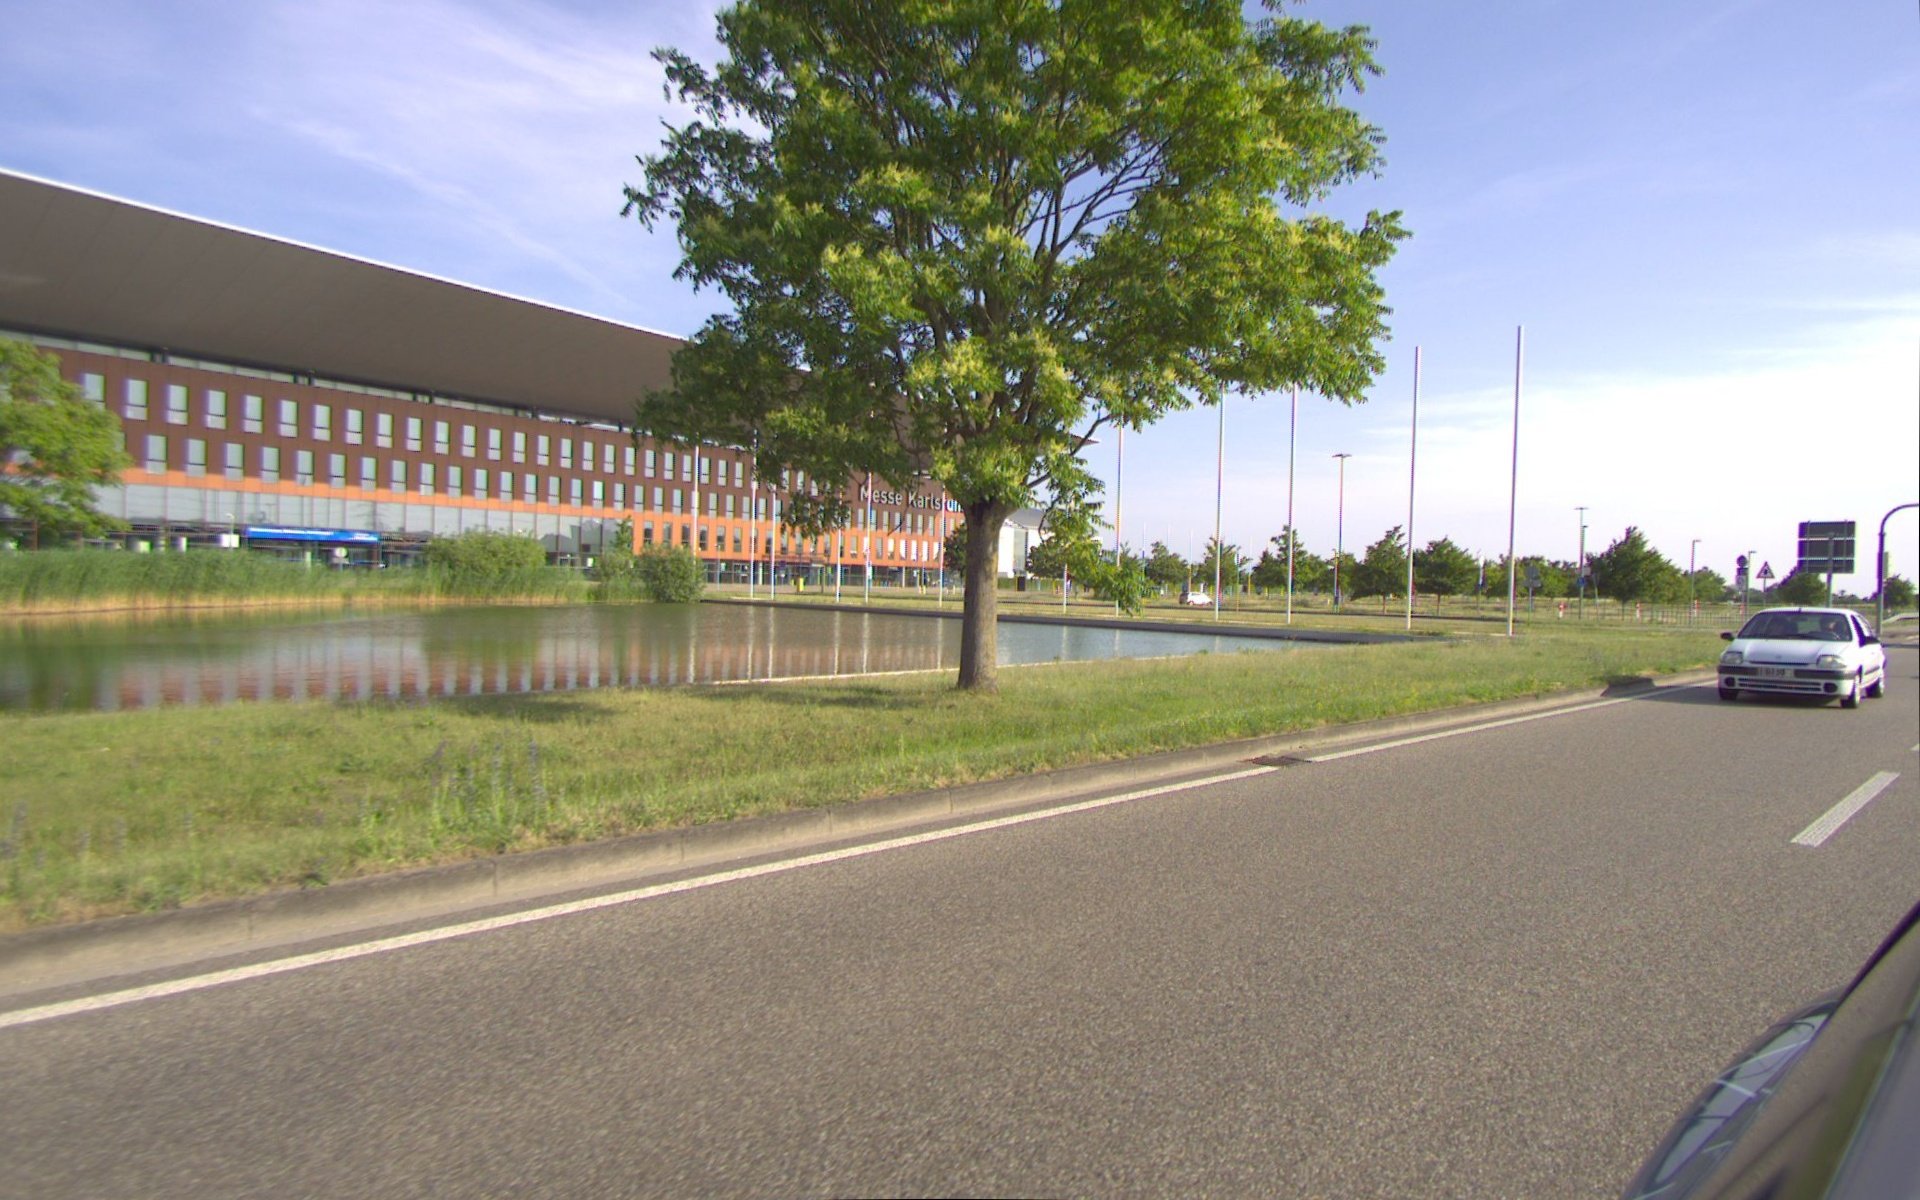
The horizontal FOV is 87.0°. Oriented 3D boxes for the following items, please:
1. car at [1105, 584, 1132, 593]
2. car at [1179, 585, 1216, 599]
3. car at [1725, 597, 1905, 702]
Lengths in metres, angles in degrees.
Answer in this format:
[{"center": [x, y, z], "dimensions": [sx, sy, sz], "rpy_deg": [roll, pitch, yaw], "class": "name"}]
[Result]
[{"center": [24.775, -1.773, 158.015], "dimensions": [1.461, 1.295, 4.202], "rpy_deg": [0, 1, -43], "class": "car"}, {"center": [24.613, -0.837, 104.830], "dimensions": [3.493, 1.473, 1.714], "rpy_deg": [0, 0, -29], "class": "car"}, {"center": [13.032, 0.675, 15.368], "dimensions": [3.391, 1.396, 1.577], "rpy_deg": [0, 1, -41], "class": "car"}]
